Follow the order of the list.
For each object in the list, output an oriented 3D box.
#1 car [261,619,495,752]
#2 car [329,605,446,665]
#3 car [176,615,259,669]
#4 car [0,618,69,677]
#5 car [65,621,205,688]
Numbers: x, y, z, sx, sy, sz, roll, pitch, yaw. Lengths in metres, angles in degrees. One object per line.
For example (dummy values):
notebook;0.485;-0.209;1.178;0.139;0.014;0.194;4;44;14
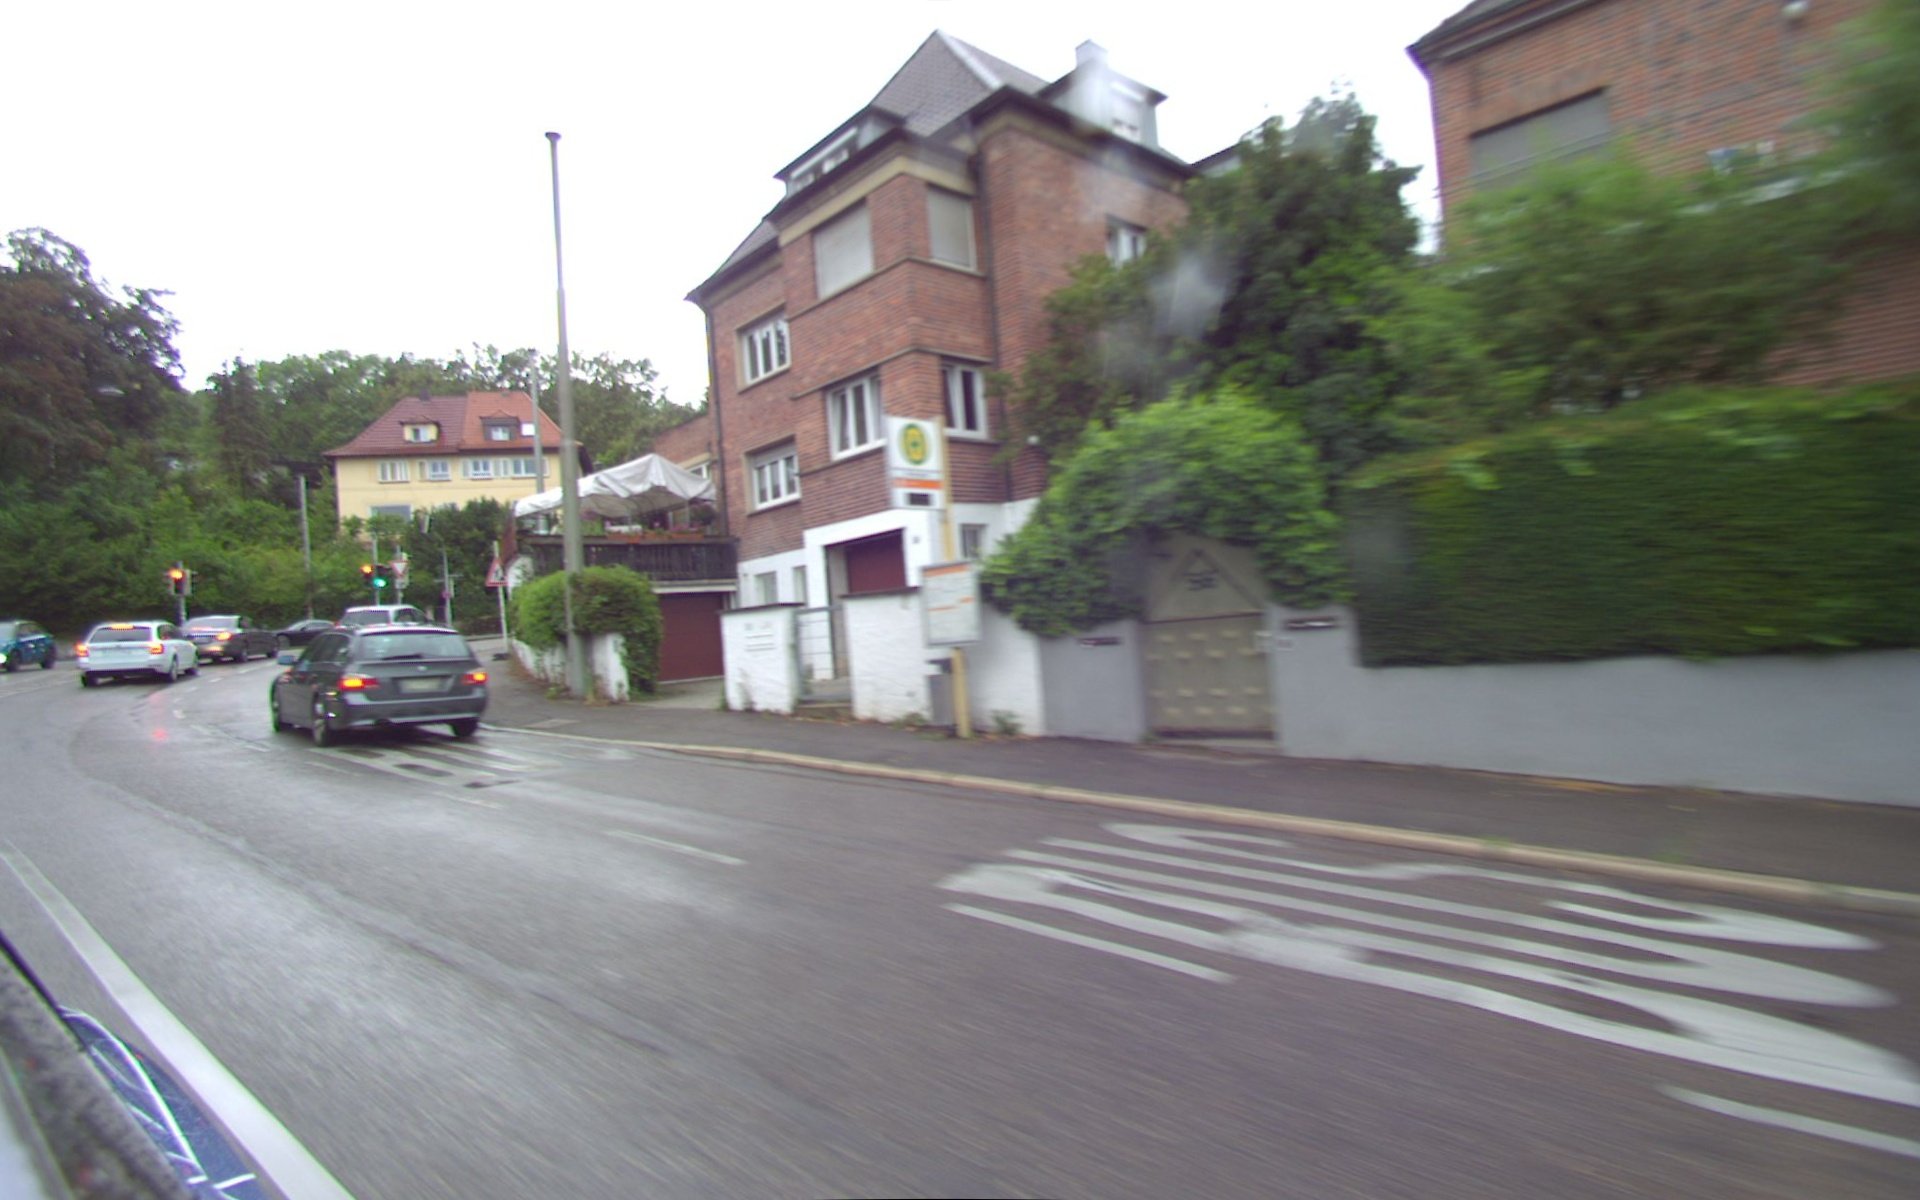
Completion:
car;-7.953;1.039;13.614;1.716;1.462;4.619;0;-2;-43
car;-17.699;1.018;31.533;1.689;1.597;4.469;-2;1;-9
car;-23.210;1.250;31.768;1.834;1.406;4.609;-2;1;-33
car;-29.638;1.500;31.197;1.771;1.622;4.053;-5;-2;-18
car;-20.274;1.265;25.070;1.821;1.485;4.455;0;-1;-28
